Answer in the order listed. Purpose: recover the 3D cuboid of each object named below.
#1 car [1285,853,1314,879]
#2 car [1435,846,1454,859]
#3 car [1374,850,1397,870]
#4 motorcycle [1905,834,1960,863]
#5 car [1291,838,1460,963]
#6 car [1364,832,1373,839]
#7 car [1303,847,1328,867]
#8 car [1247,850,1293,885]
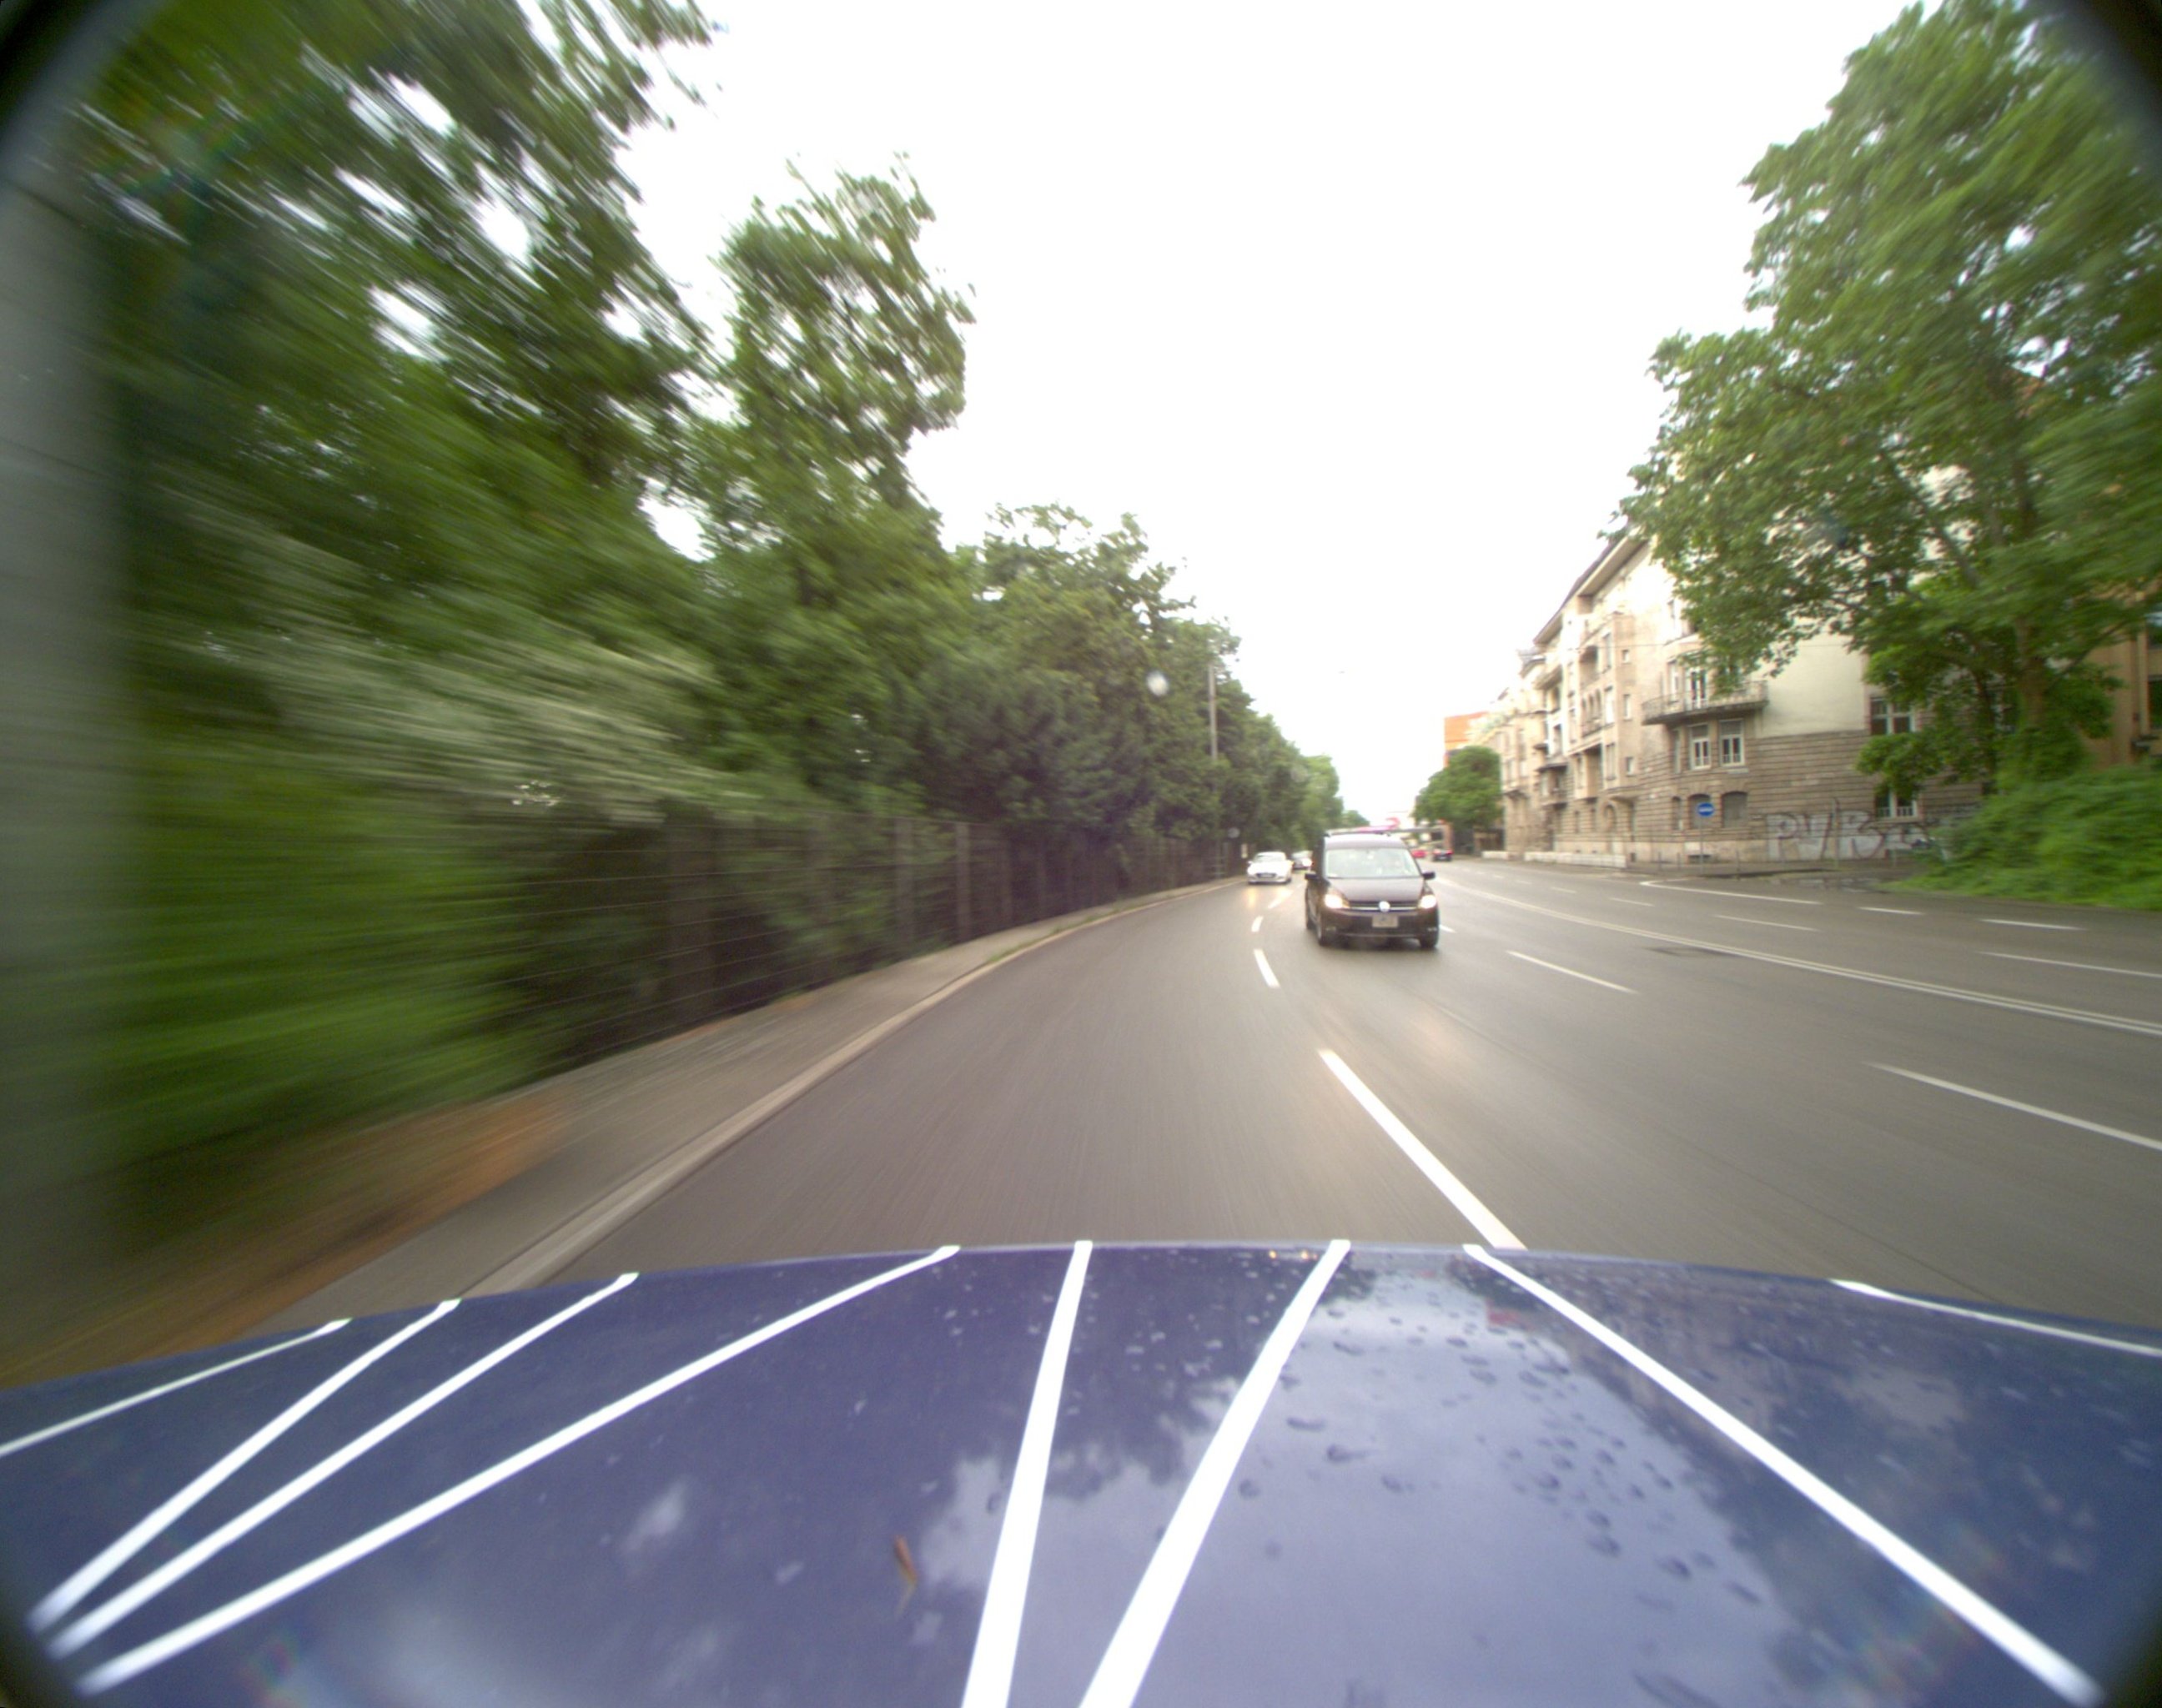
[{"bbox_3d":[15.625,0.811,54.433,1.799,1.586,4.004,-4,0,15],"label":"car"},{"bbox_3d":[37.749,-0.177,78.831,1.702,1.331,3.922,-2,0,26],"label":"car"},{"bbox_3d":[30.120,0.579,75.077,1.699,1.787,3.808,-4,0,27],"label":"car"},{"bbox_3d":[35.180,-0.227,31.428,0.504,1.135,2.397,-2,0,22],"label":"motorcycle"},{"bbox_3d":[4.758,0.681,12.886,1.841,1.780,4.003,-1,0,9],"label":"car"},{"bbox_3d":[69.781,-4.548,184.147,1.822,1.602,4.005,-4,0,22],"label":"car"},{"bbox_3d":[22.091,0.267,71.522,1.799,1.586,4.005,-4,0,22],"label":"car"},{"bbox_3d":[8.945,0.602,35.806,1.729,1.430,4.005,-3,0,18],"label":"car"}]
